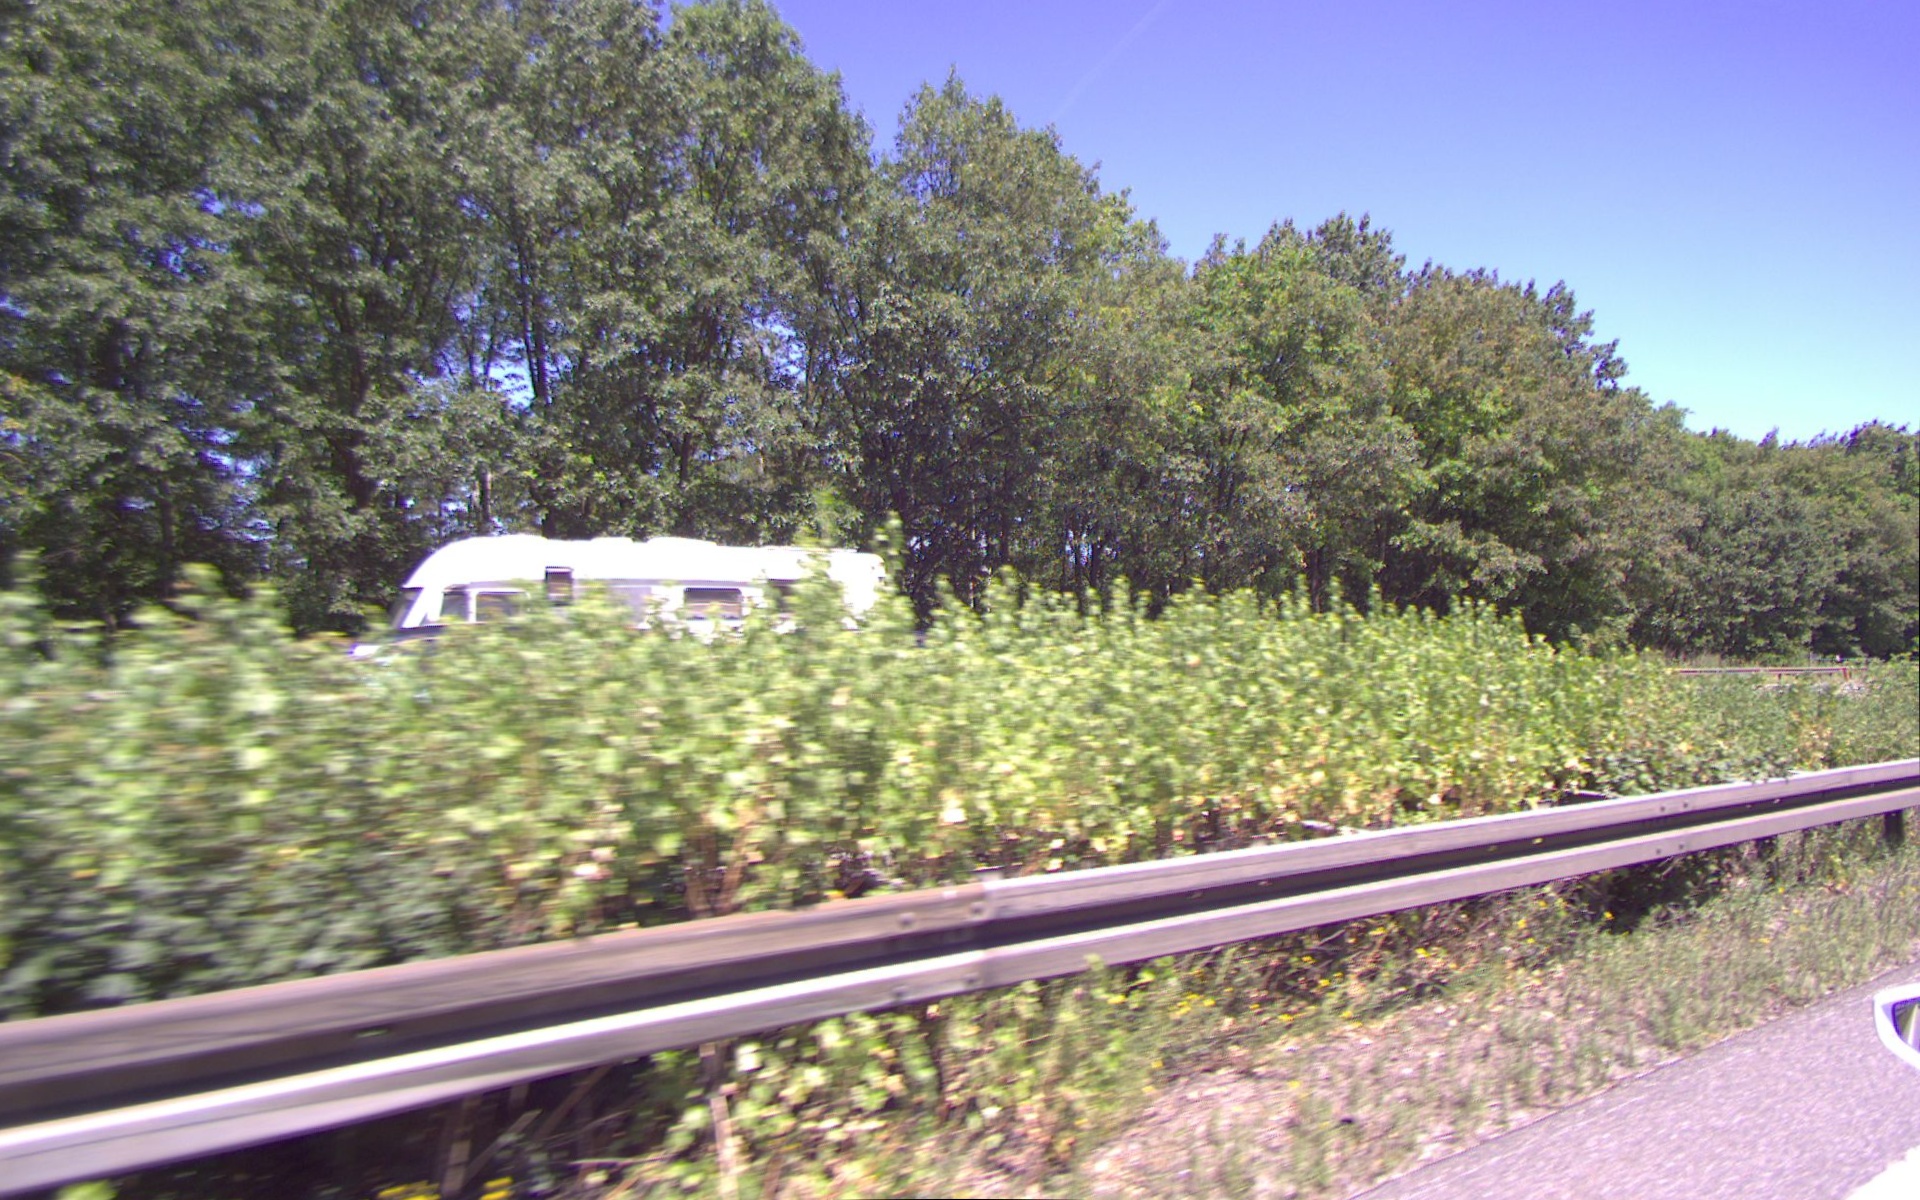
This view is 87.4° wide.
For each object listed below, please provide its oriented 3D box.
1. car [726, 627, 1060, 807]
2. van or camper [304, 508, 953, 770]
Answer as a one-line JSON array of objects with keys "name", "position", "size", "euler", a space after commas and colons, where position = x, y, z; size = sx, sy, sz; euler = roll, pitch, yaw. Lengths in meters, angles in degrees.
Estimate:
[{"name": "car", "position": [-0.864, 1.416, 13.293], "size": [3.953, 2.040, 1.984], "euler": [2, -2, -30]}, {"name": "van or camper", "position": [-4.589, 0.593, 15.420], "size": [8.982, 3.153, 2.408], "euler": [2, -1, -31]}]
